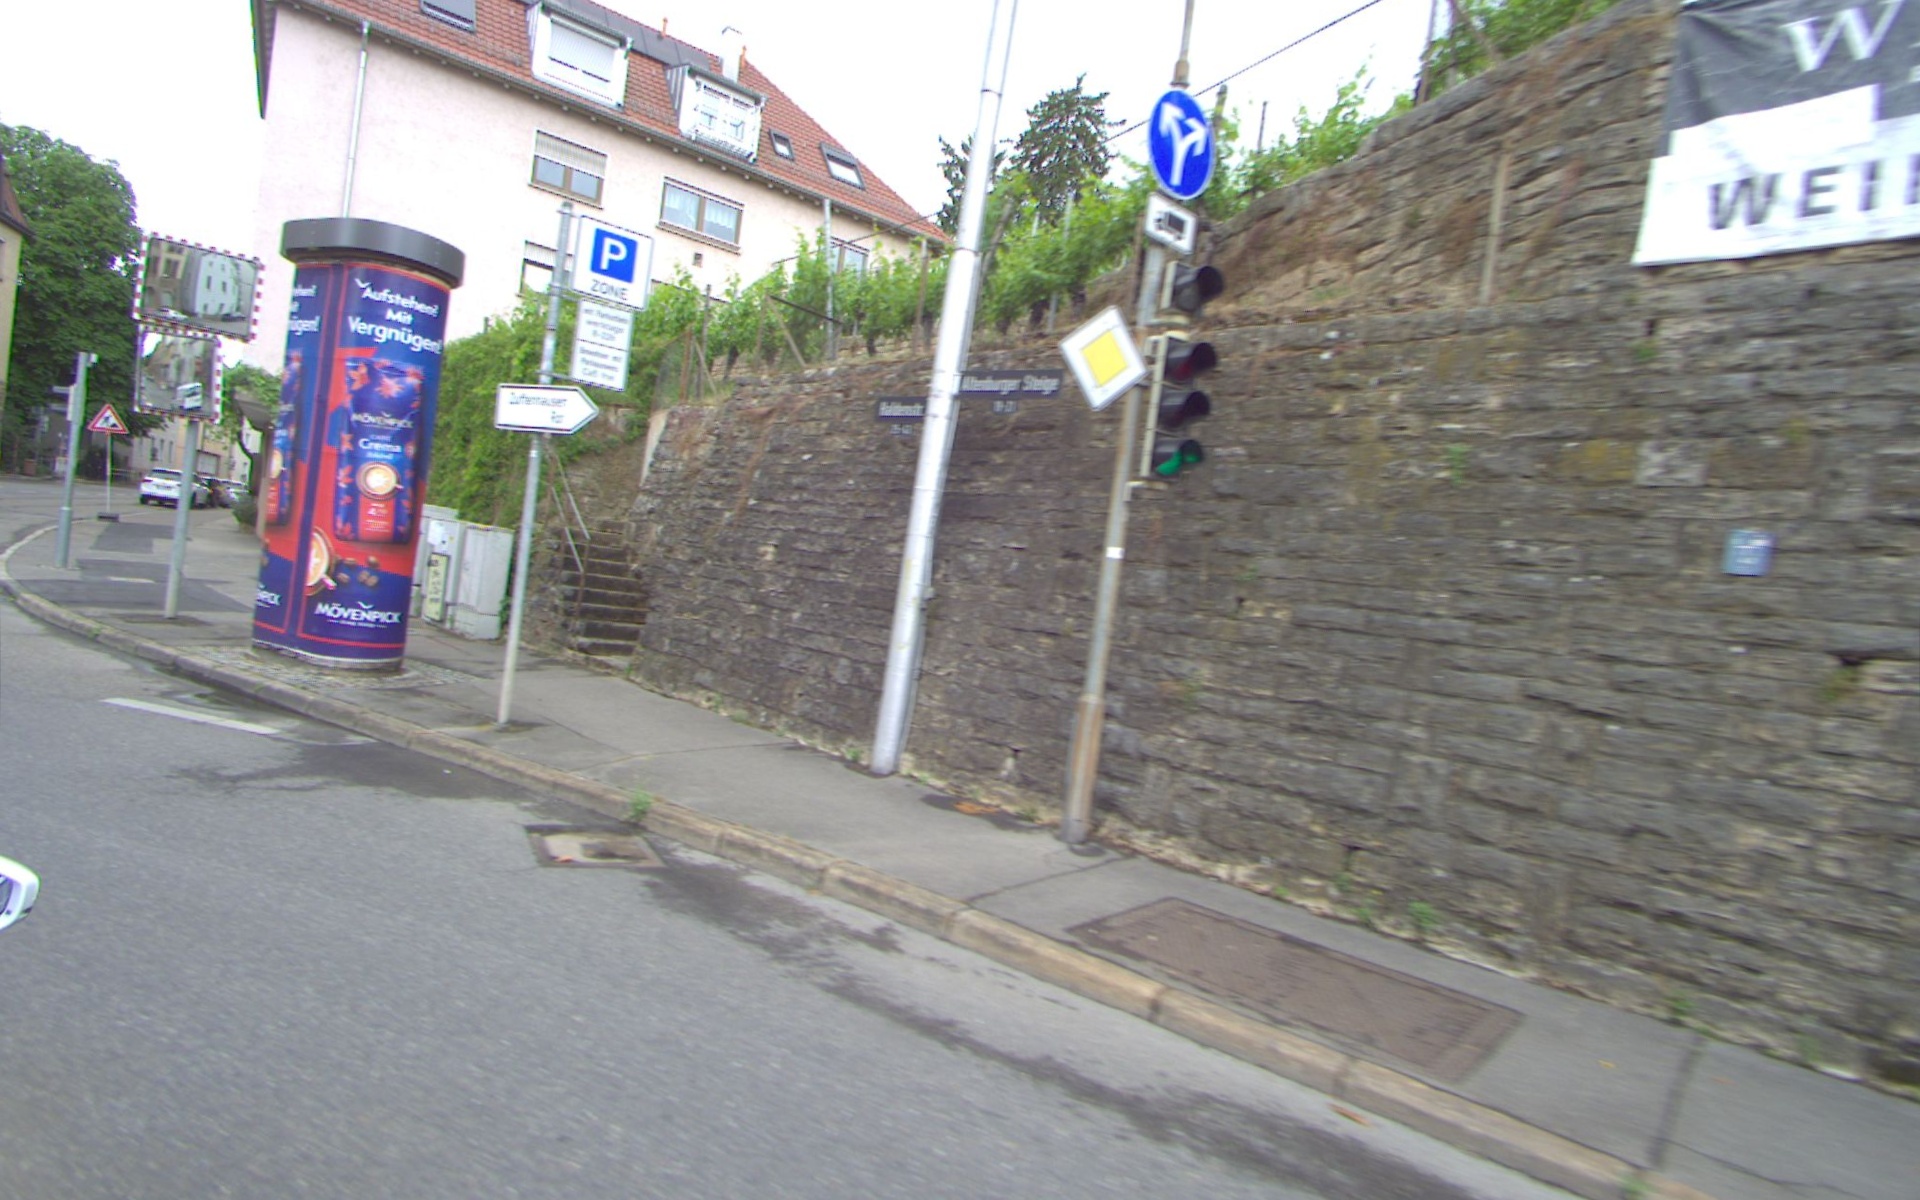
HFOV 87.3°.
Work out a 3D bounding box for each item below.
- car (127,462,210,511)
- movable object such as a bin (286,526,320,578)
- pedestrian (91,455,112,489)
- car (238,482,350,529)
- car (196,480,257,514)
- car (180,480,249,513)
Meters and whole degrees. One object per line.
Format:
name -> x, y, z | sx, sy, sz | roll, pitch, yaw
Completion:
car -> -34.442, -4.881, 43.899 | 1.930, 1.741, 3.973 | 5, 2, -26
movable object such as a bin -> -12.526, -0.919, 19.180 | 0.488, 0.923, 0.343 | 9, 1, 40
pedestrian -> -54.934, -8.179, 64.347 | 0.757, 2.040, 0.748 | 5, 3, -28
car -> -28.687, -4.031, 43.361 | 3.886, 1.573, 1.852 | 4, 2, -38
car -> -39.243, -5.488, 53.881 | 1.792, 1.482, 3.974 | 5, 2, -25
car -> -36.294, -4.996, 49.076 | 1.975, 1.305, 3.971 | 4, 2, -27
